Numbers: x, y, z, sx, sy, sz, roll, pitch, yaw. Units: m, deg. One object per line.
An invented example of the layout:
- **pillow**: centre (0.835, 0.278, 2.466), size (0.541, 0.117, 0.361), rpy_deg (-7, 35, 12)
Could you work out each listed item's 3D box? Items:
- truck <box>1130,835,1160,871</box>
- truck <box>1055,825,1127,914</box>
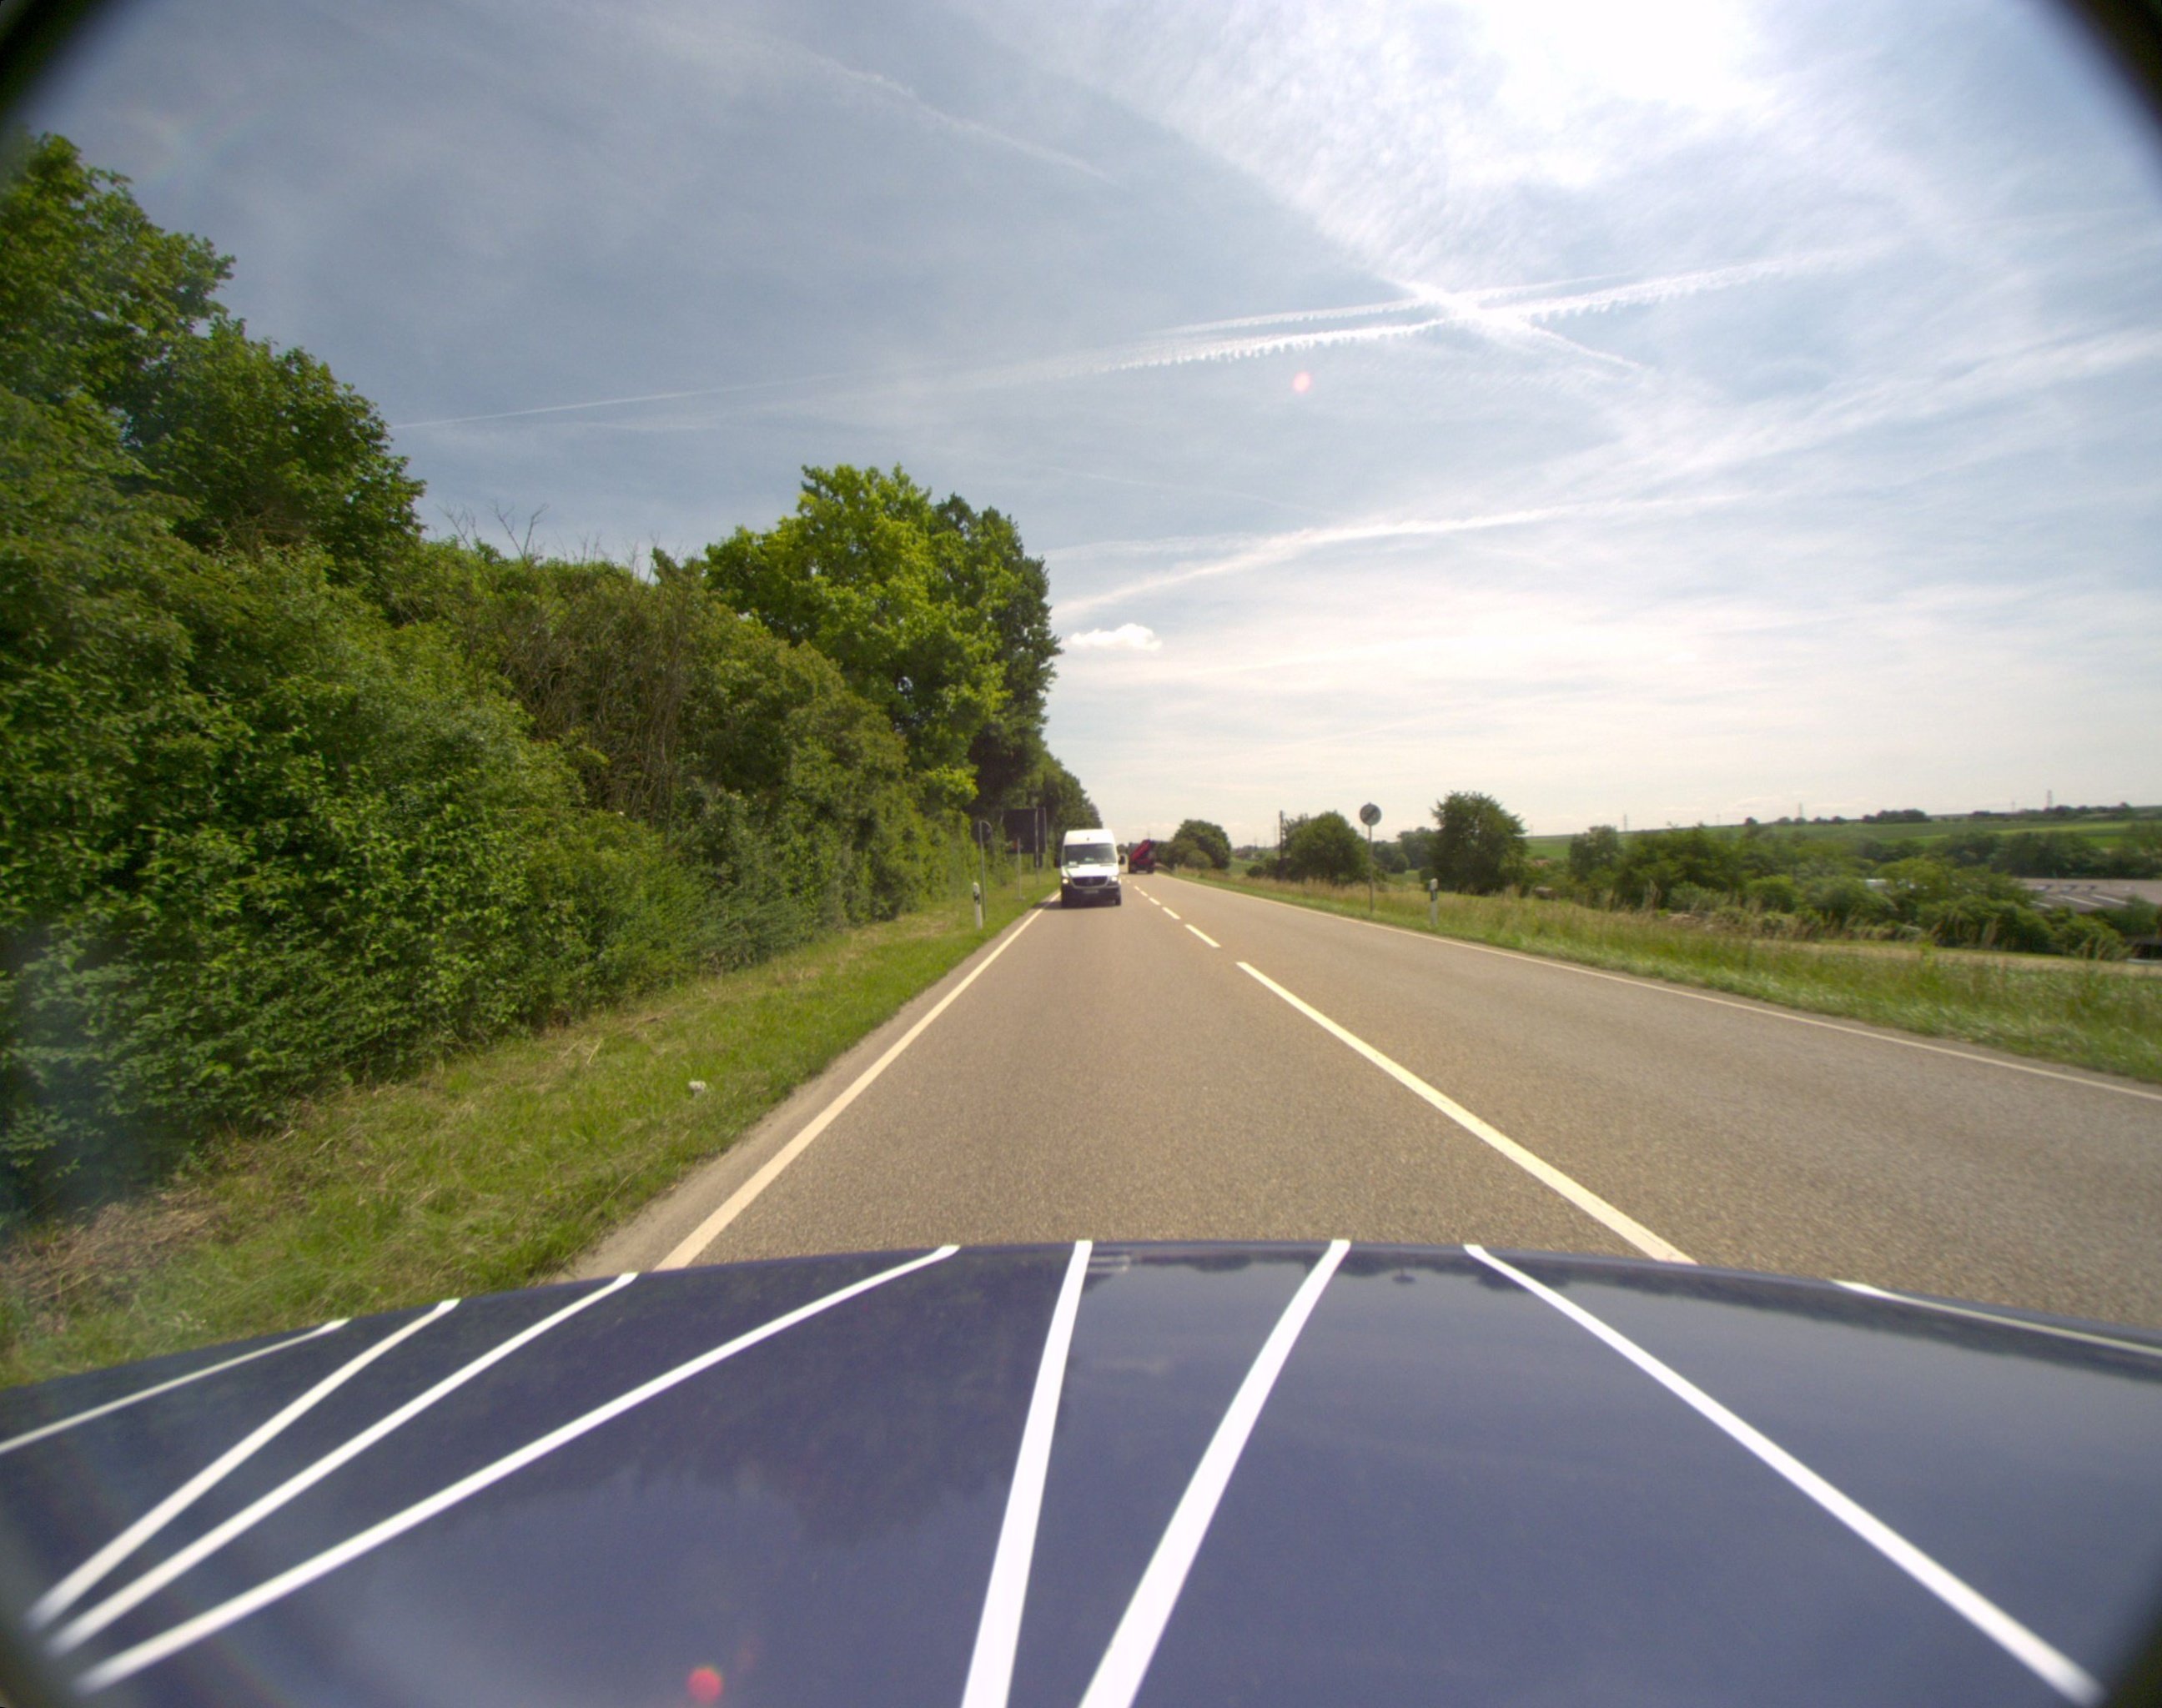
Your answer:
- **truck**: centre (6.615, -0.055, 80.373), size (2.762, 3.555, 11.068), rpy_deg (1, 0, 3)
- **truck**: centre (0.515, 0.451, 26.190), size (2.022, 2.567, 7.227), rpy_deg (-2, 0, 3)
